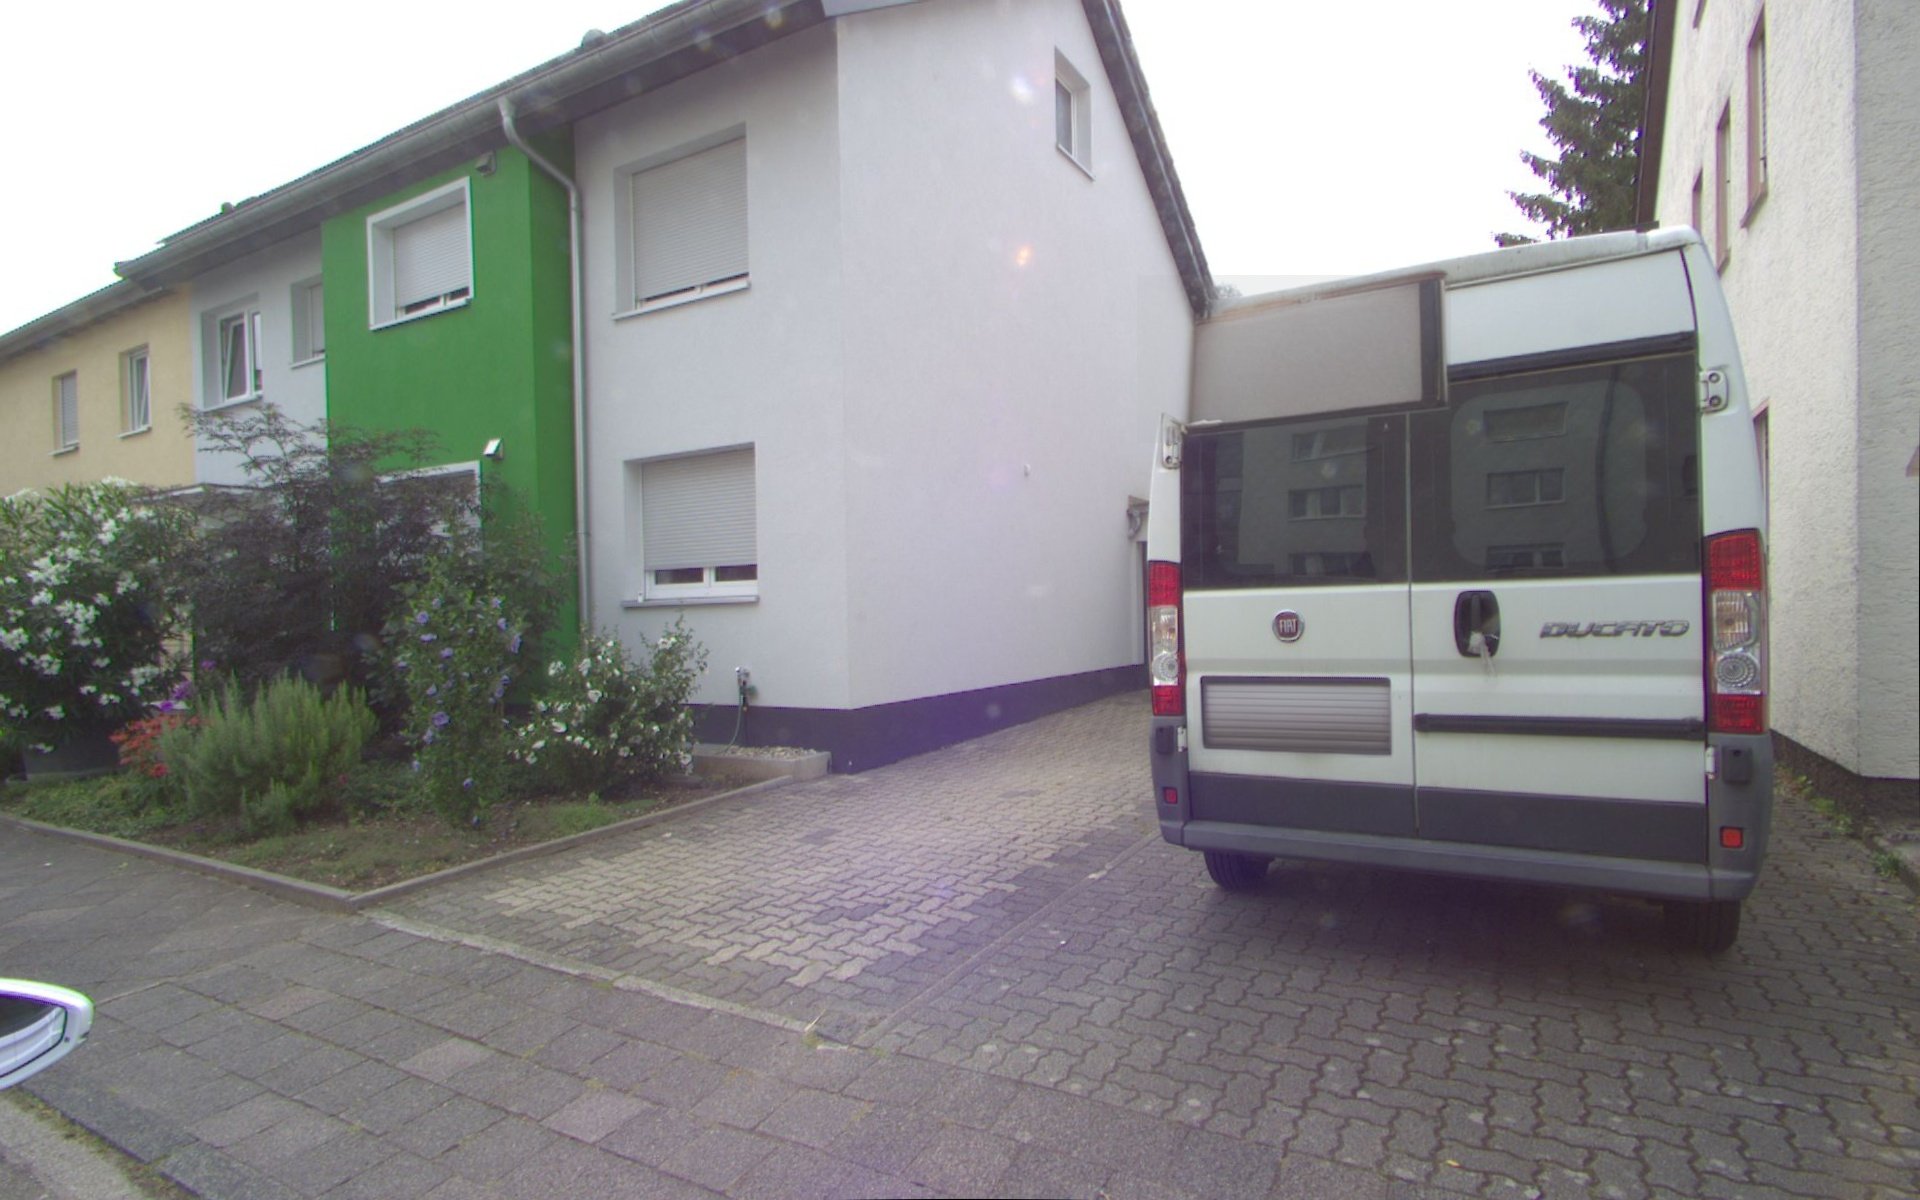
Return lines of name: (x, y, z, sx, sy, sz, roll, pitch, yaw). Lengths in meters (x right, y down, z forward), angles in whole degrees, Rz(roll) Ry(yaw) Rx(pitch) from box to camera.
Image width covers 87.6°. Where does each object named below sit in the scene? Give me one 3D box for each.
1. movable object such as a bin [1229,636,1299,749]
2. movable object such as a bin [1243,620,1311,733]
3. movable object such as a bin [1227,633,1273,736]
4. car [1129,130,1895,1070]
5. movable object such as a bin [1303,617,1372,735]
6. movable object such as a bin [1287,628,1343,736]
movable object such as a bin: (2.700, 0.802, 8.894, 0.475, 0.938, 0.518, -1, 2, 30)
movable object such as a bin: (3.110, 0.734, 9.820, 0.538, 1.046, 0.454, -1, 2, 30)
movable object such as a bin: (2.755, 0.792, 9.506, 0.333, 0.938, 0.354, -1, 2, 30)
car: (2.919, -0.023, 5.503, 2.205, 2.576, 5.077, -1, 1, 31)
movable object such as a bin: (3.596, 0.709, 9.537, 0.538, 1.071, 0.454, -1, 2, 30)
movable object such as a bin: (3.248, 0.736, 9.162, 0.396, 0.938, 0.448, -1, 2, 30)
